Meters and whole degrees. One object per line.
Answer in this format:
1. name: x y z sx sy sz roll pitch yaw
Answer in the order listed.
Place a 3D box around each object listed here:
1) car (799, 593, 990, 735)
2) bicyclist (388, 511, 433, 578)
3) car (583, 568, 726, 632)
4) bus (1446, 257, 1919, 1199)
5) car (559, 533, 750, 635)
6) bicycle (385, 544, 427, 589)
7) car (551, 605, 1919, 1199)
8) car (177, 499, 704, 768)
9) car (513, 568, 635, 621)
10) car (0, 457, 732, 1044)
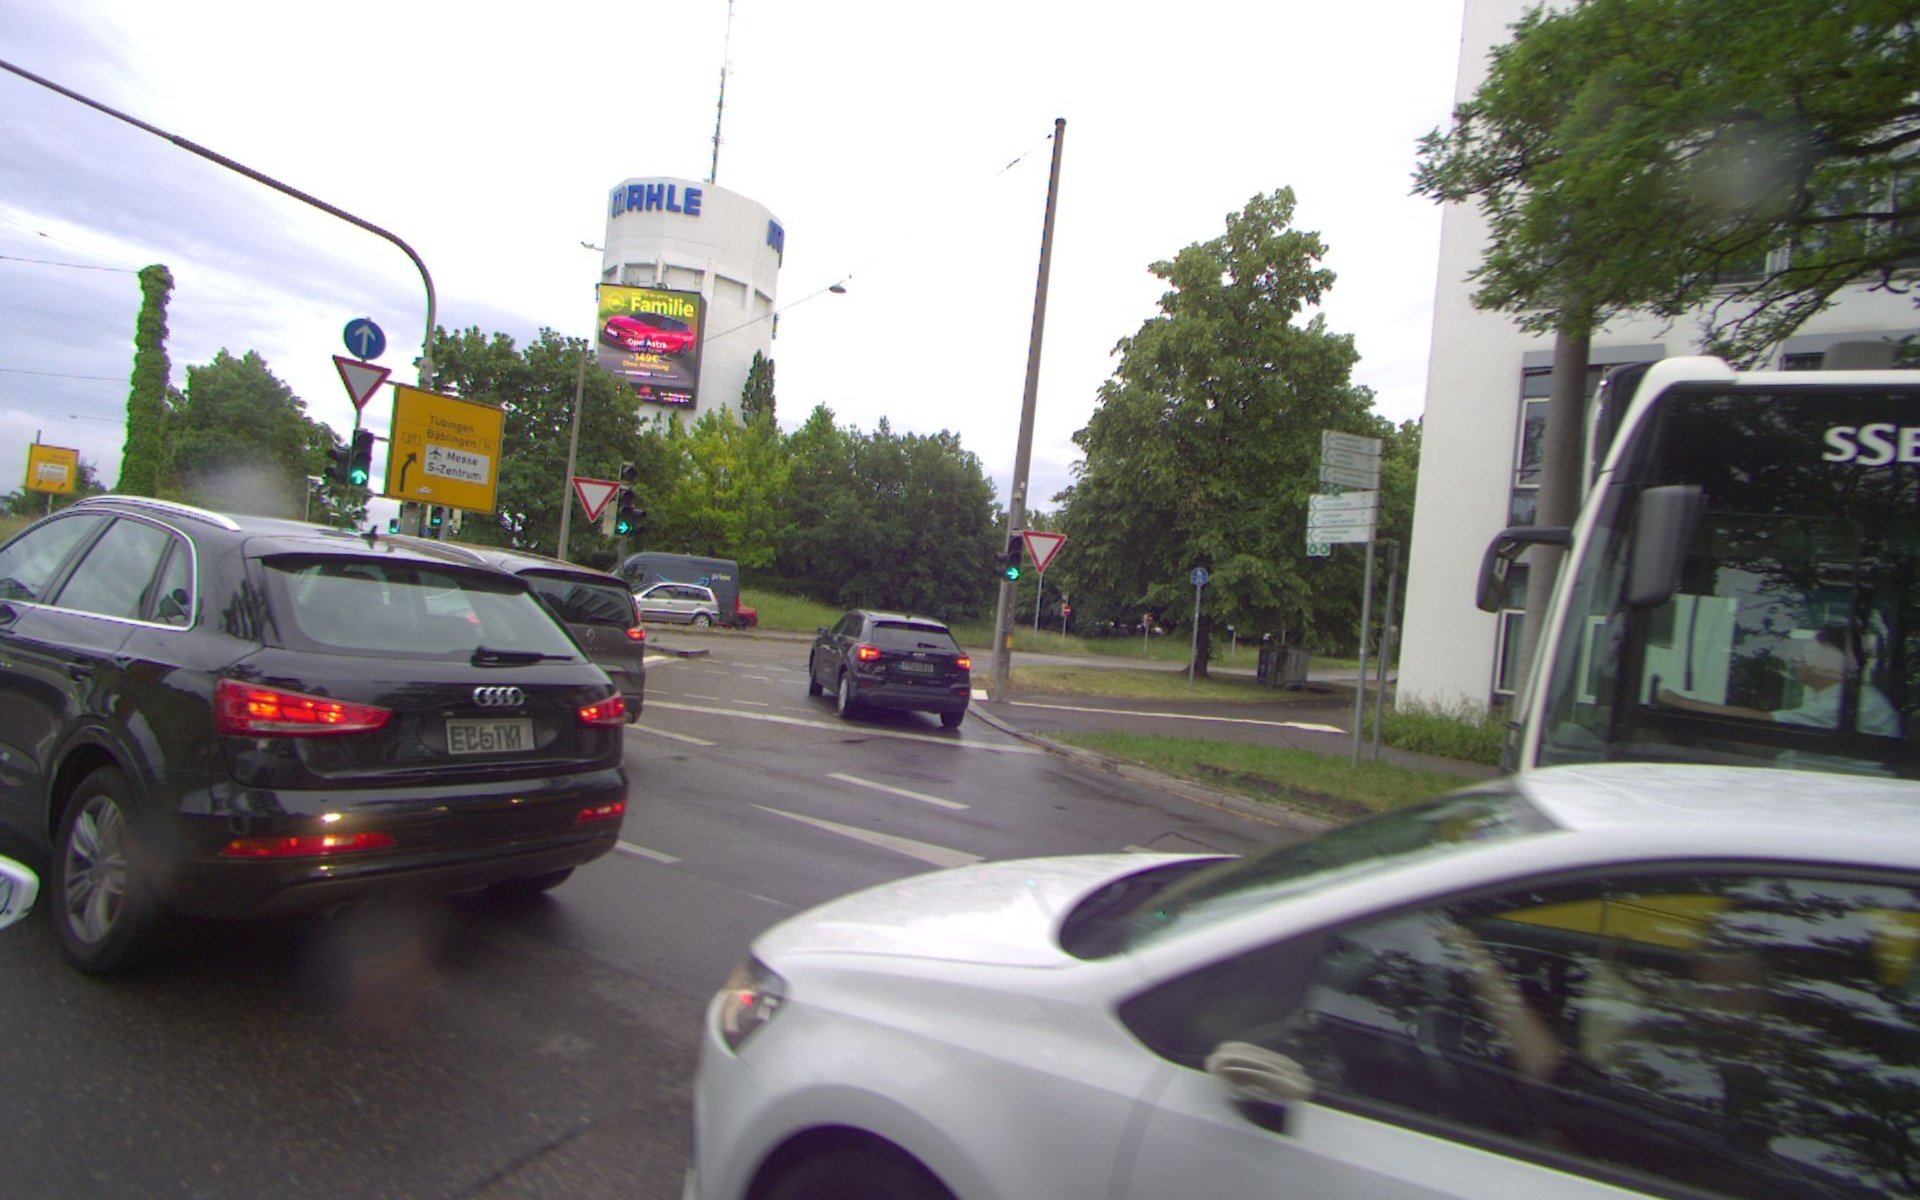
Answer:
1. car: -1.157 0.859 15.241 1.843 1.517 4.133 6 2 -18
2. bicyclist: -14.308 -1.419 26.173 0.803 1.602 1.015 8 -2 -32
3. car: -10.014 0.037 33.057 4.027 1.586 1.855 8 -4 -36
4. bus: 7.917 1.017 2.146 11.943 3.188 2.733 7 -2 31
5. car: -10.813 -0.485 35.856 5.971 2.772 2.065 8 -3 -33
6. bicycle: -14.458 -0.876 26.227 0.802 1.035 2.310 6 -1 -31
7. car: 1.254 0.979 1.803 3.749 1.448 1.744 6 -3 32
8. car: -4.807 0.226 9.232 4.484 1.694 1.870 7 -1 26
9. car: -15.602 -0.220 40.745 4.112 1.582 1.852 8 -2 -38
10. car: -3.301 0.357 4.642 4.044 1.613 1.889 6 -3 30
